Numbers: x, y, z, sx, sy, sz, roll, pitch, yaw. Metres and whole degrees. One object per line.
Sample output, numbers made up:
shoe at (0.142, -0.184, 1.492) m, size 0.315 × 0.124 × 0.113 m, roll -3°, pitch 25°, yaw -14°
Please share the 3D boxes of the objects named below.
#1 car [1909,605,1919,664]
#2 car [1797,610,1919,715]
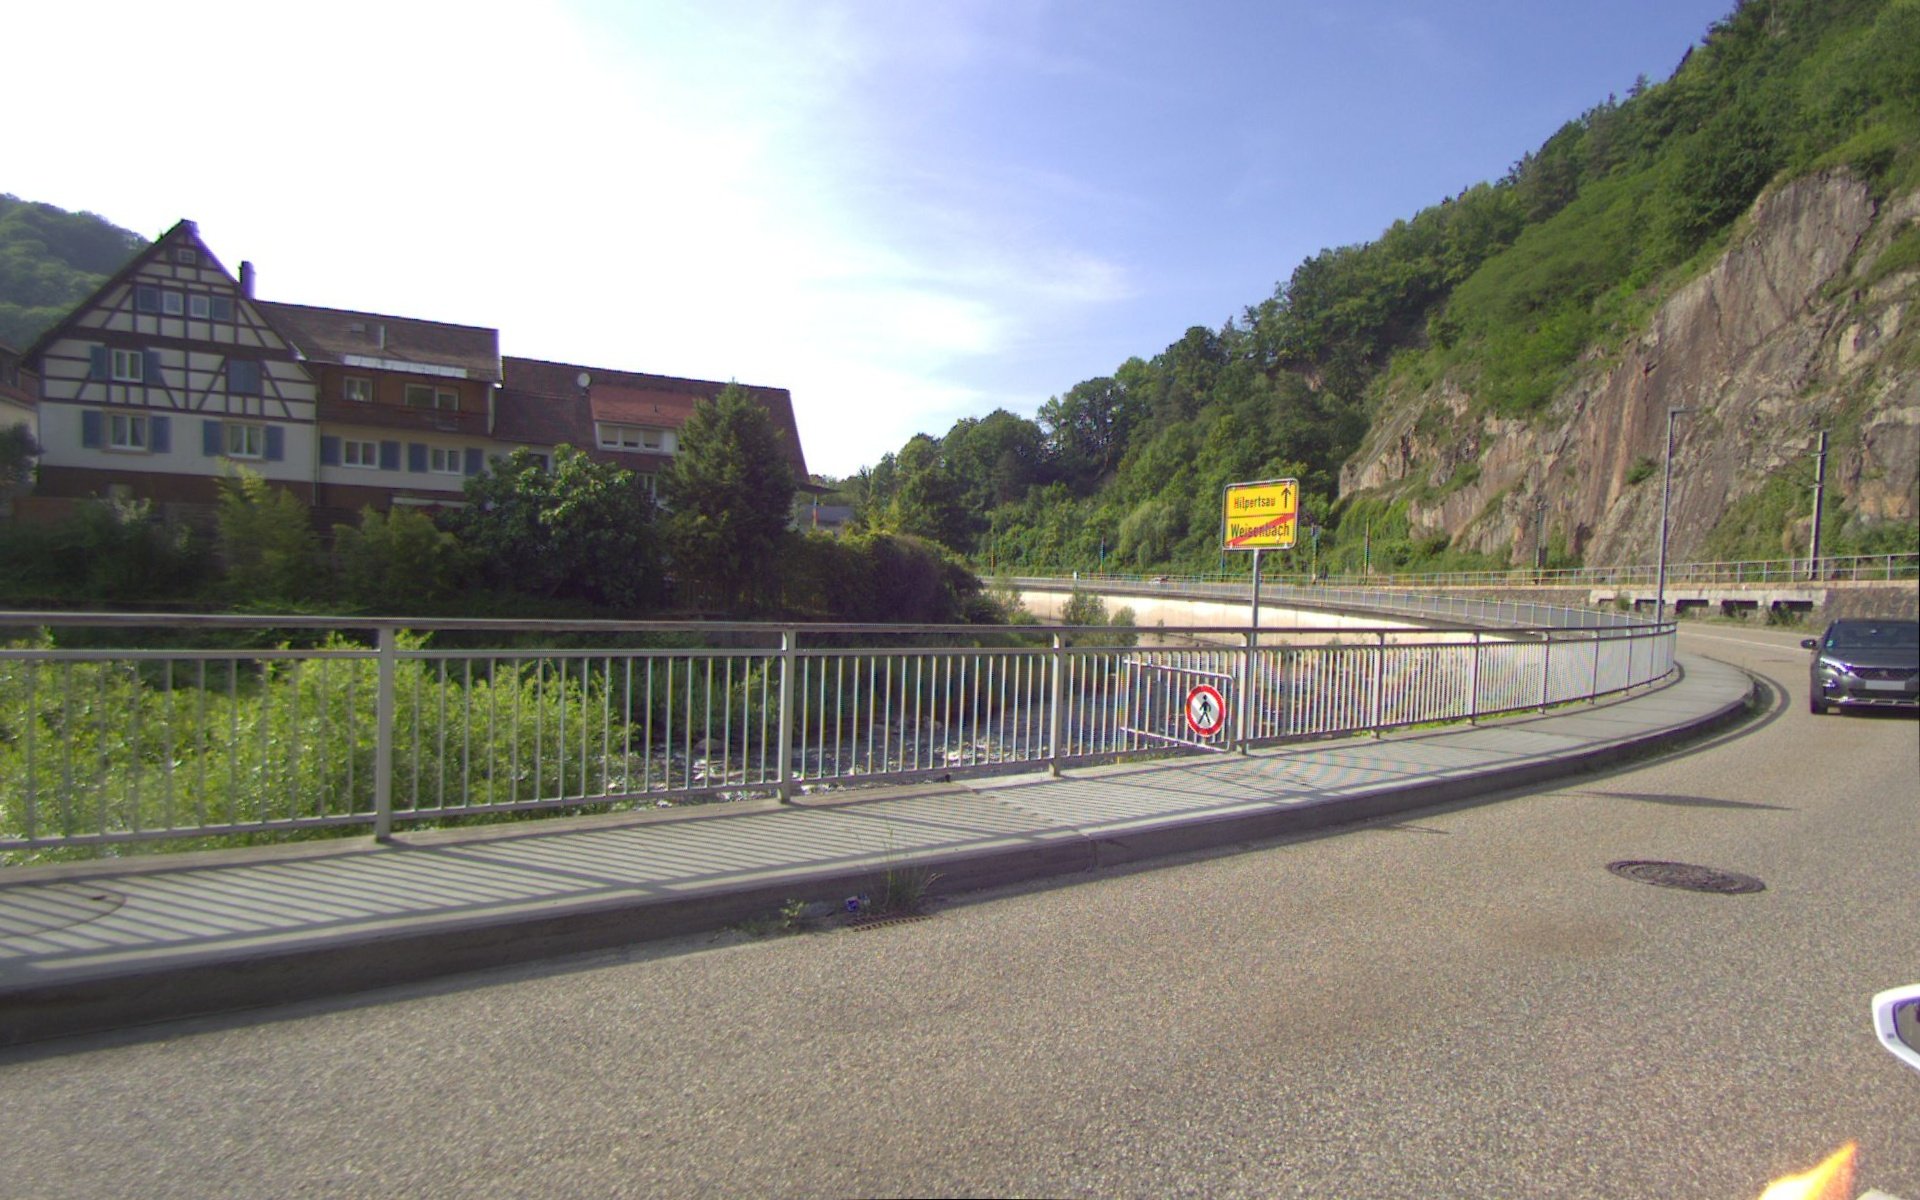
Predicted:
car at (27.843, 0.986, 27.635) m, size 1.847 × 1.678 × 3.988 m, roll -1°, pitch 0°, yaw 34°
car at (16.053, 1.041, 17.658) m, size 1.793 × 1.664 × 3.984 m, roll -4°, pitch -3°, yaw 37°
